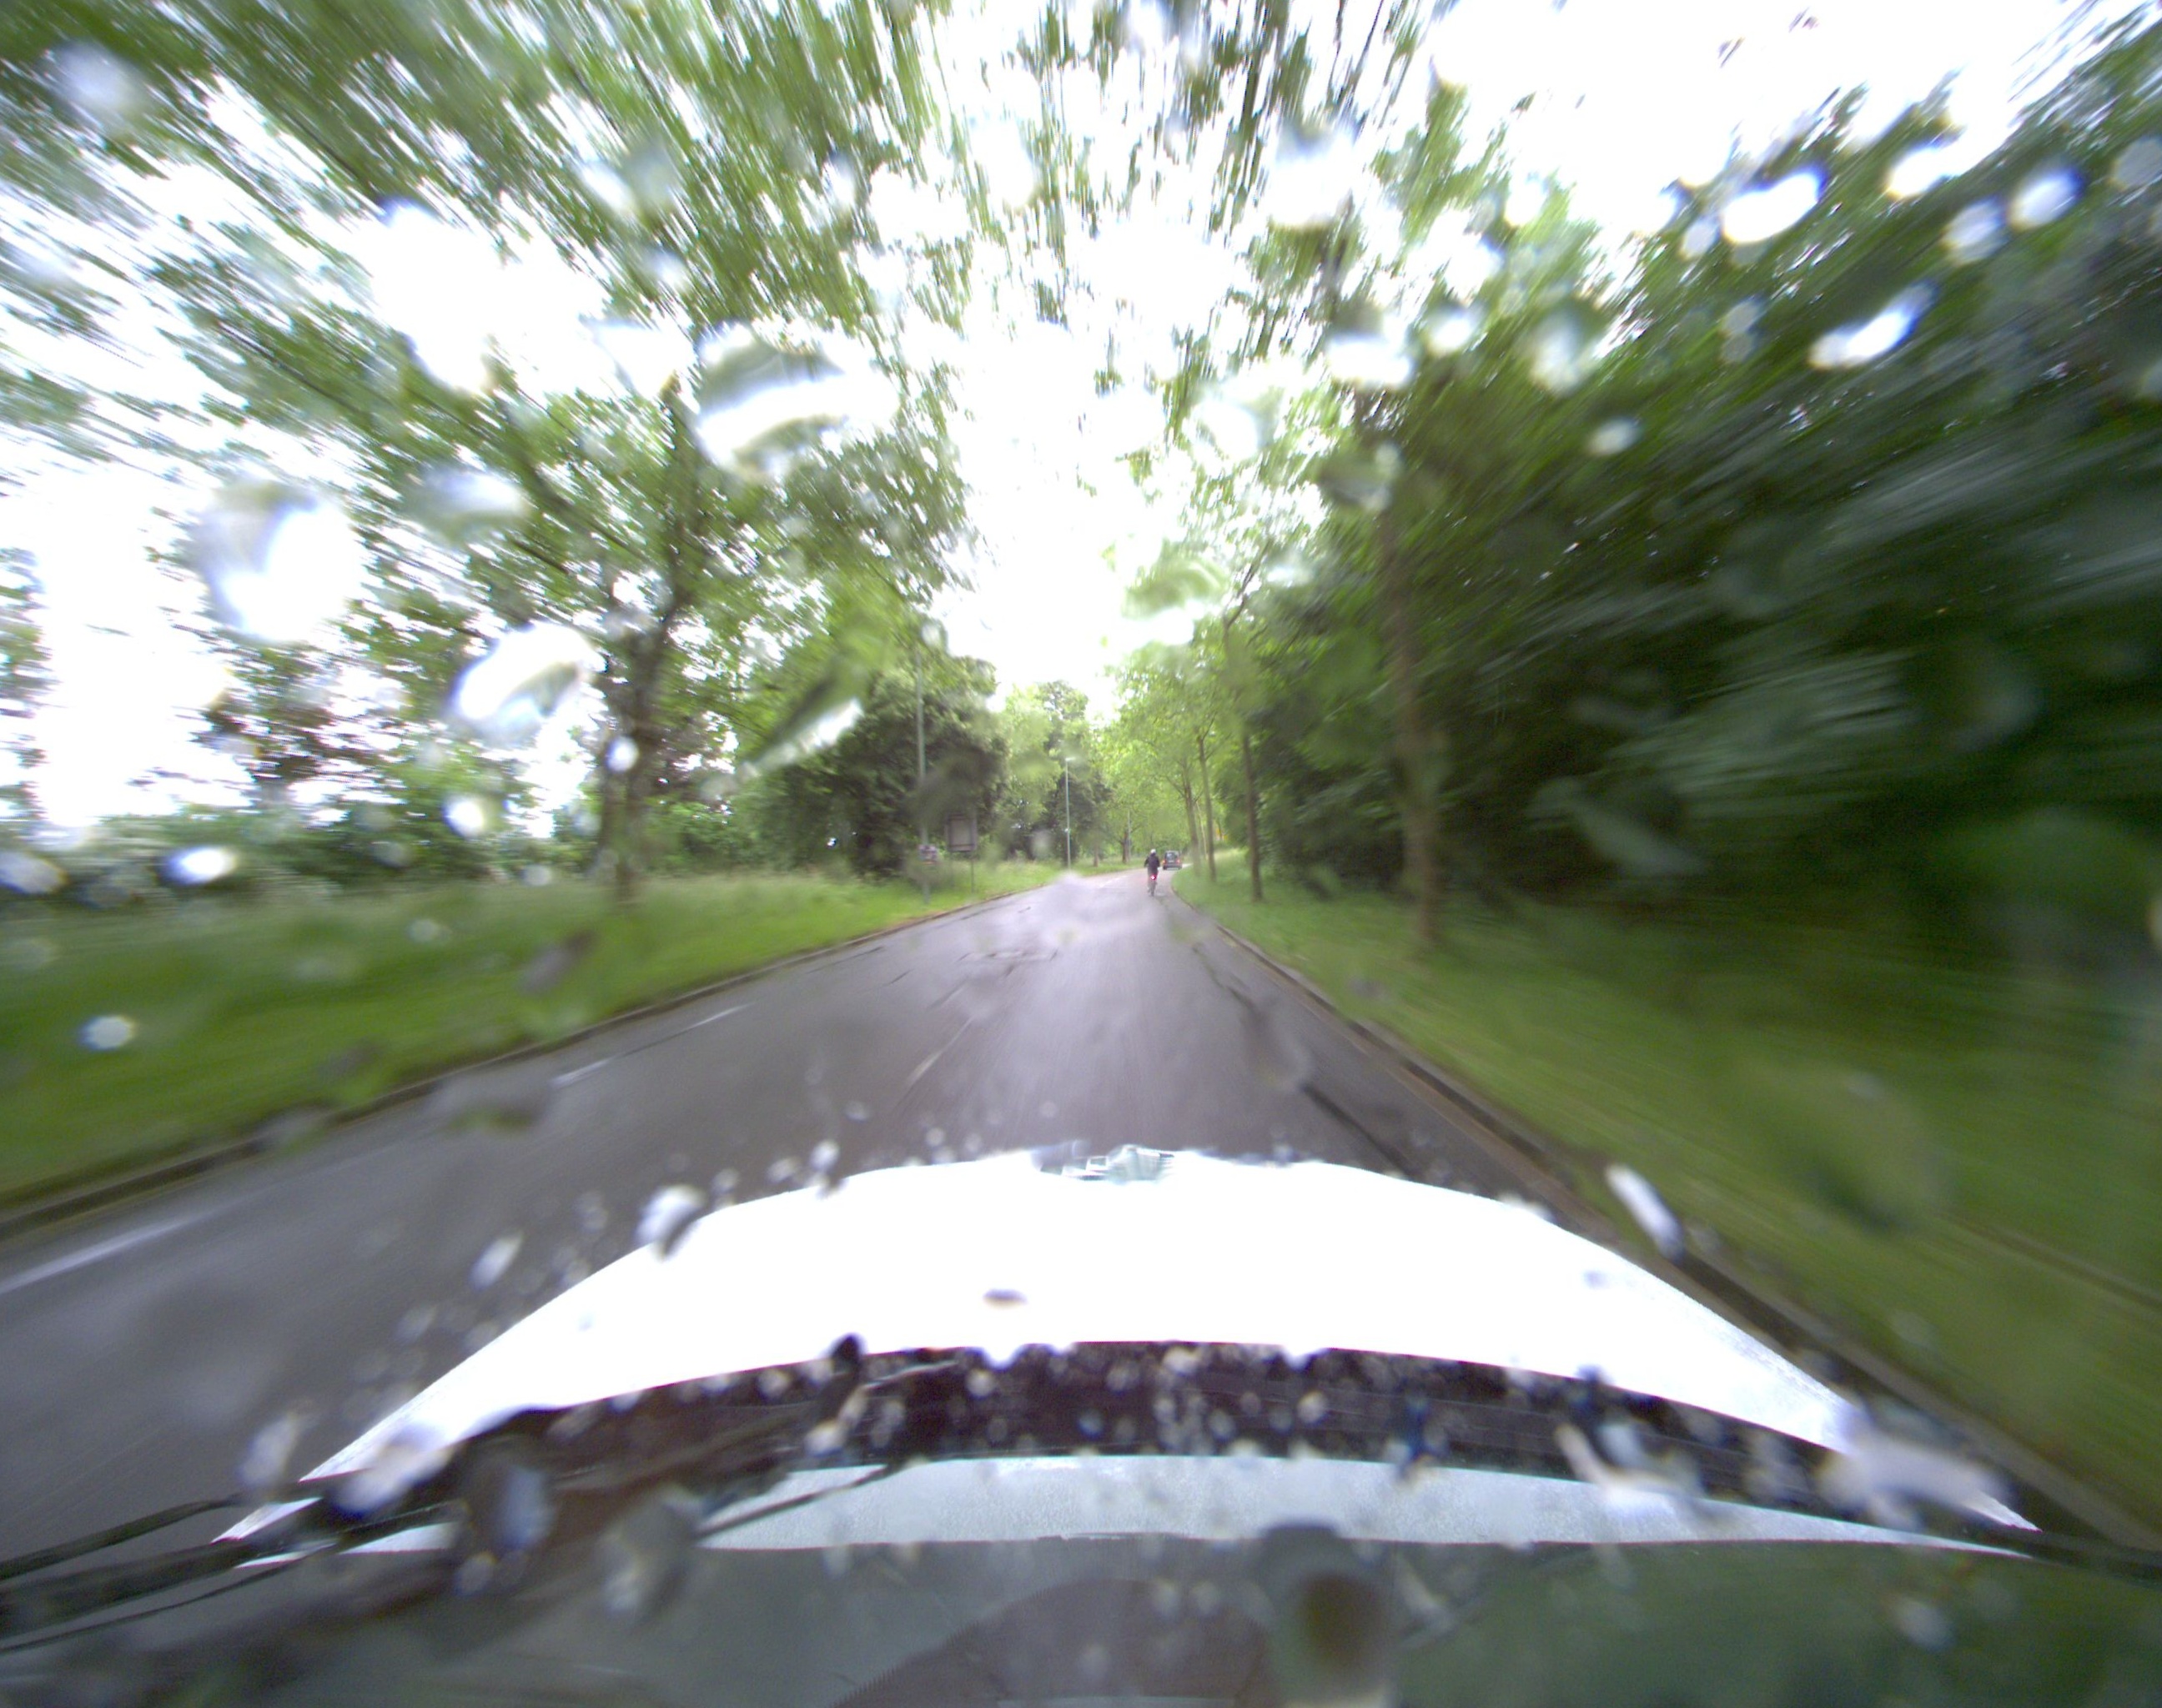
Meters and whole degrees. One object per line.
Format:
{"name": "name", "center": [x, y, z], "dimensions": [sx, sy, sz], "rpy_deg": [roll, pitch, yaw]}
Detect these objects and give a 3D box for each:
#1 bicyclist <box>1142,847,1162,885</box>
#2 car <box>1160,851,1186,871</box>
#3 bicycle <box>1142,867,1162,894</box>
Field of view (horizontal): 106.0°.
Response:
{"name": "bicyclist", "center": [2.743, 0.458, 31.474], "dimensions": [0.726, 1.411, 0.974], "rpy_deg": [0, 0, 5]}
{"name": "car", "center": [9.181, 0.648, 81.121], "dimensions": [1.971, 1.926, 4.015], "rpy_deg": [-1, 0, 13]}
{"name": "bicycle", "center": [2.768, 1.025, 31.739], "dimensions": [0.726, 0.974, 2.176], "rpy_deg": [0, 0, 5]}
